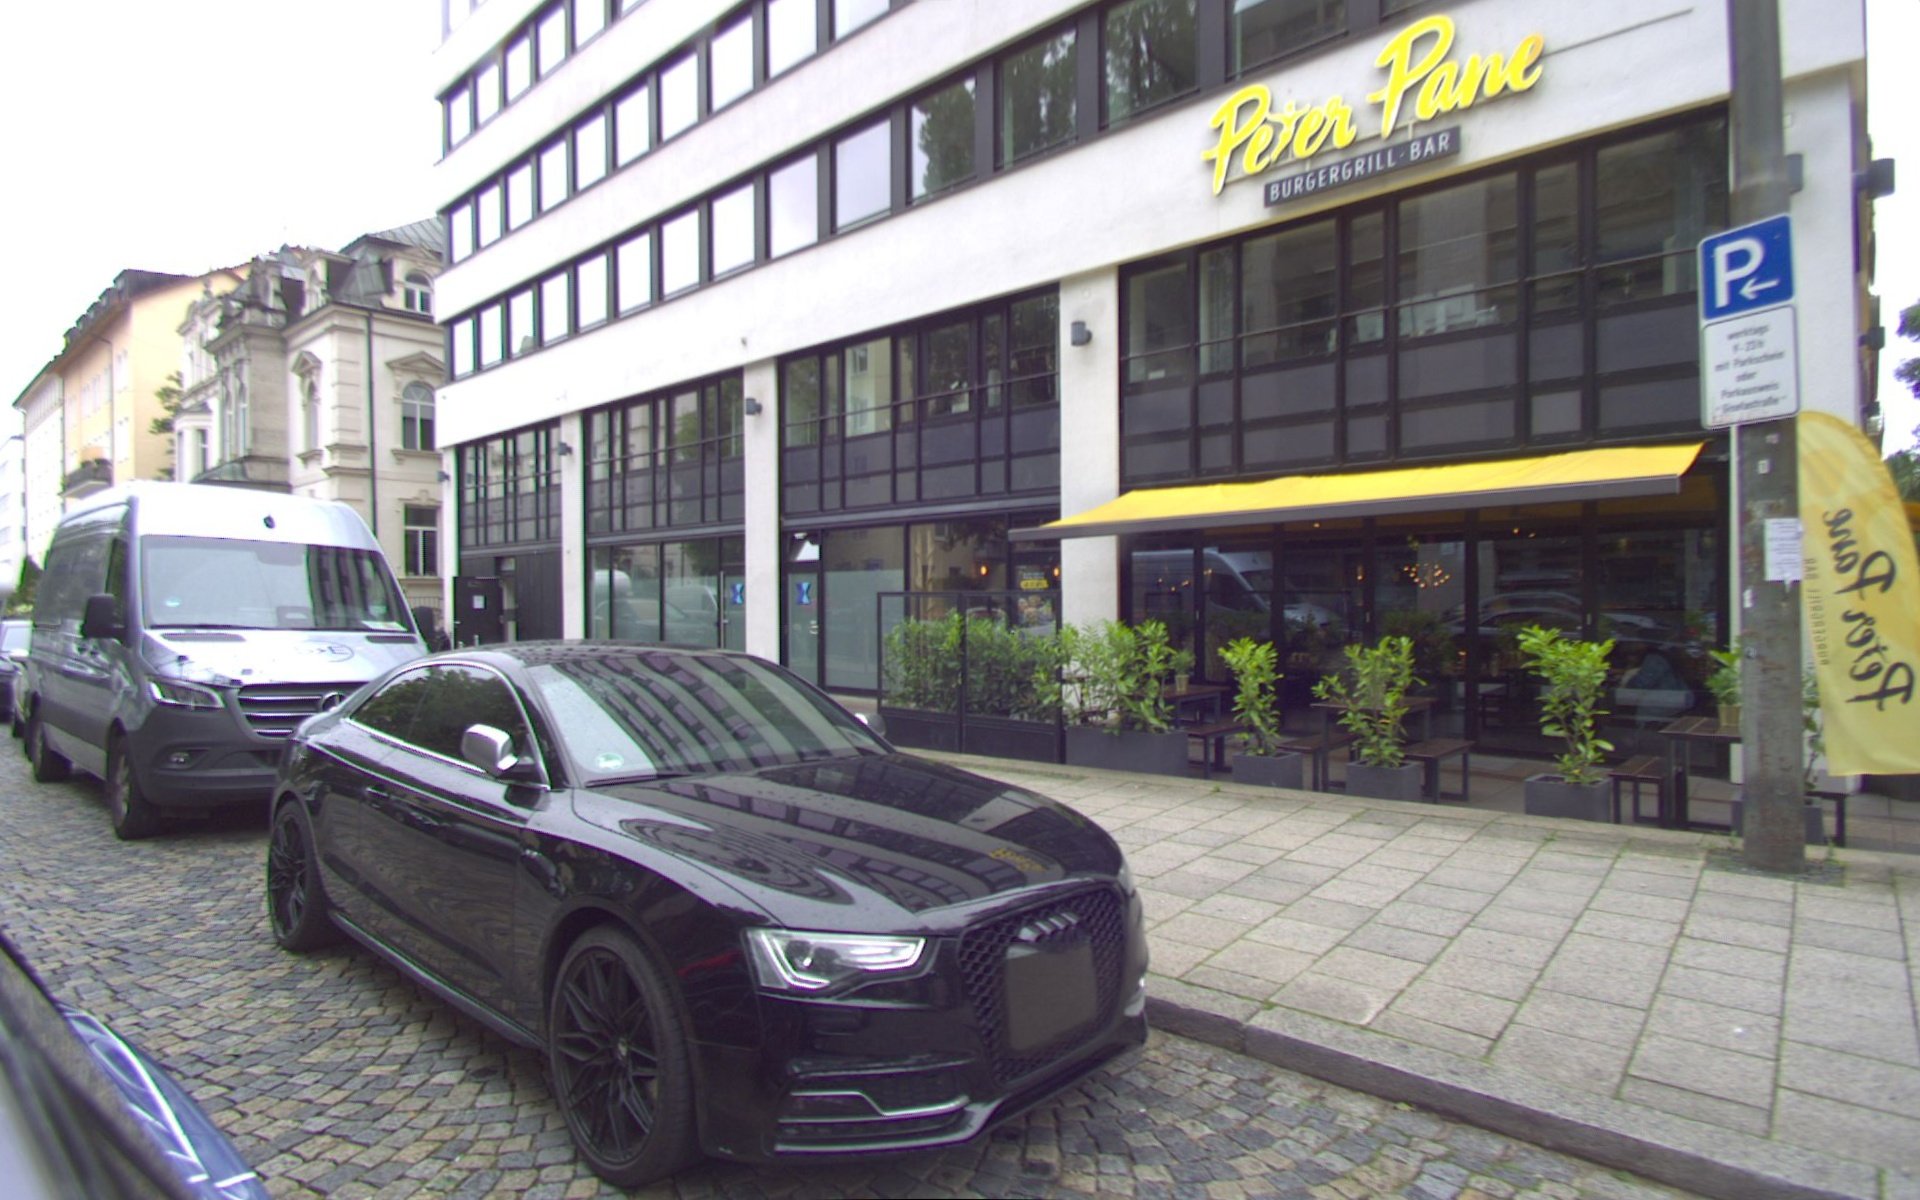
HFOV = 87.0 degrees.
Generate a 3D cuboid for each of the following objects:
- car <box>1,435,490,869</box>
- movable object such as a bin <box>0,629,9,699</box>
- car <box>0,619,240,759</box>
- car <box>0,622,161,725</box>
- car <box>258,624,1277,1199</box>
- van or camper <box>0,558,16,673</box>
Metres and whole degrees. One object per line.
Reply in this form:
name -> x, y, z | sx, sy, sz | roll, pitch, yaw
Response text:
car -> -6.309, 0.330, 8.539 | 5.845, 2.509, 2.038 | -1, 0, 41
movable object such as a bin -> -18.878, 1.225, 19.066 | 1.172, 1.308, 1.239 | -1, -1, 38
car -> -10.838, 0.985, 12.802 | 3.998, 1.441, 1.973 | -1, -1, 41
car -> -14.293, 1.060, 15.958 | 3.998, 1.399, 1.973 | -1, -1, 41
car -> -1.113, 0.798, 4.064 | 4.116, 1.340, 1.972 | -1, 0, 43
van or camper -> -29.008, 0.473, 28.731 | 7.313, 3.070, 2.432 | -1, 0, 41
